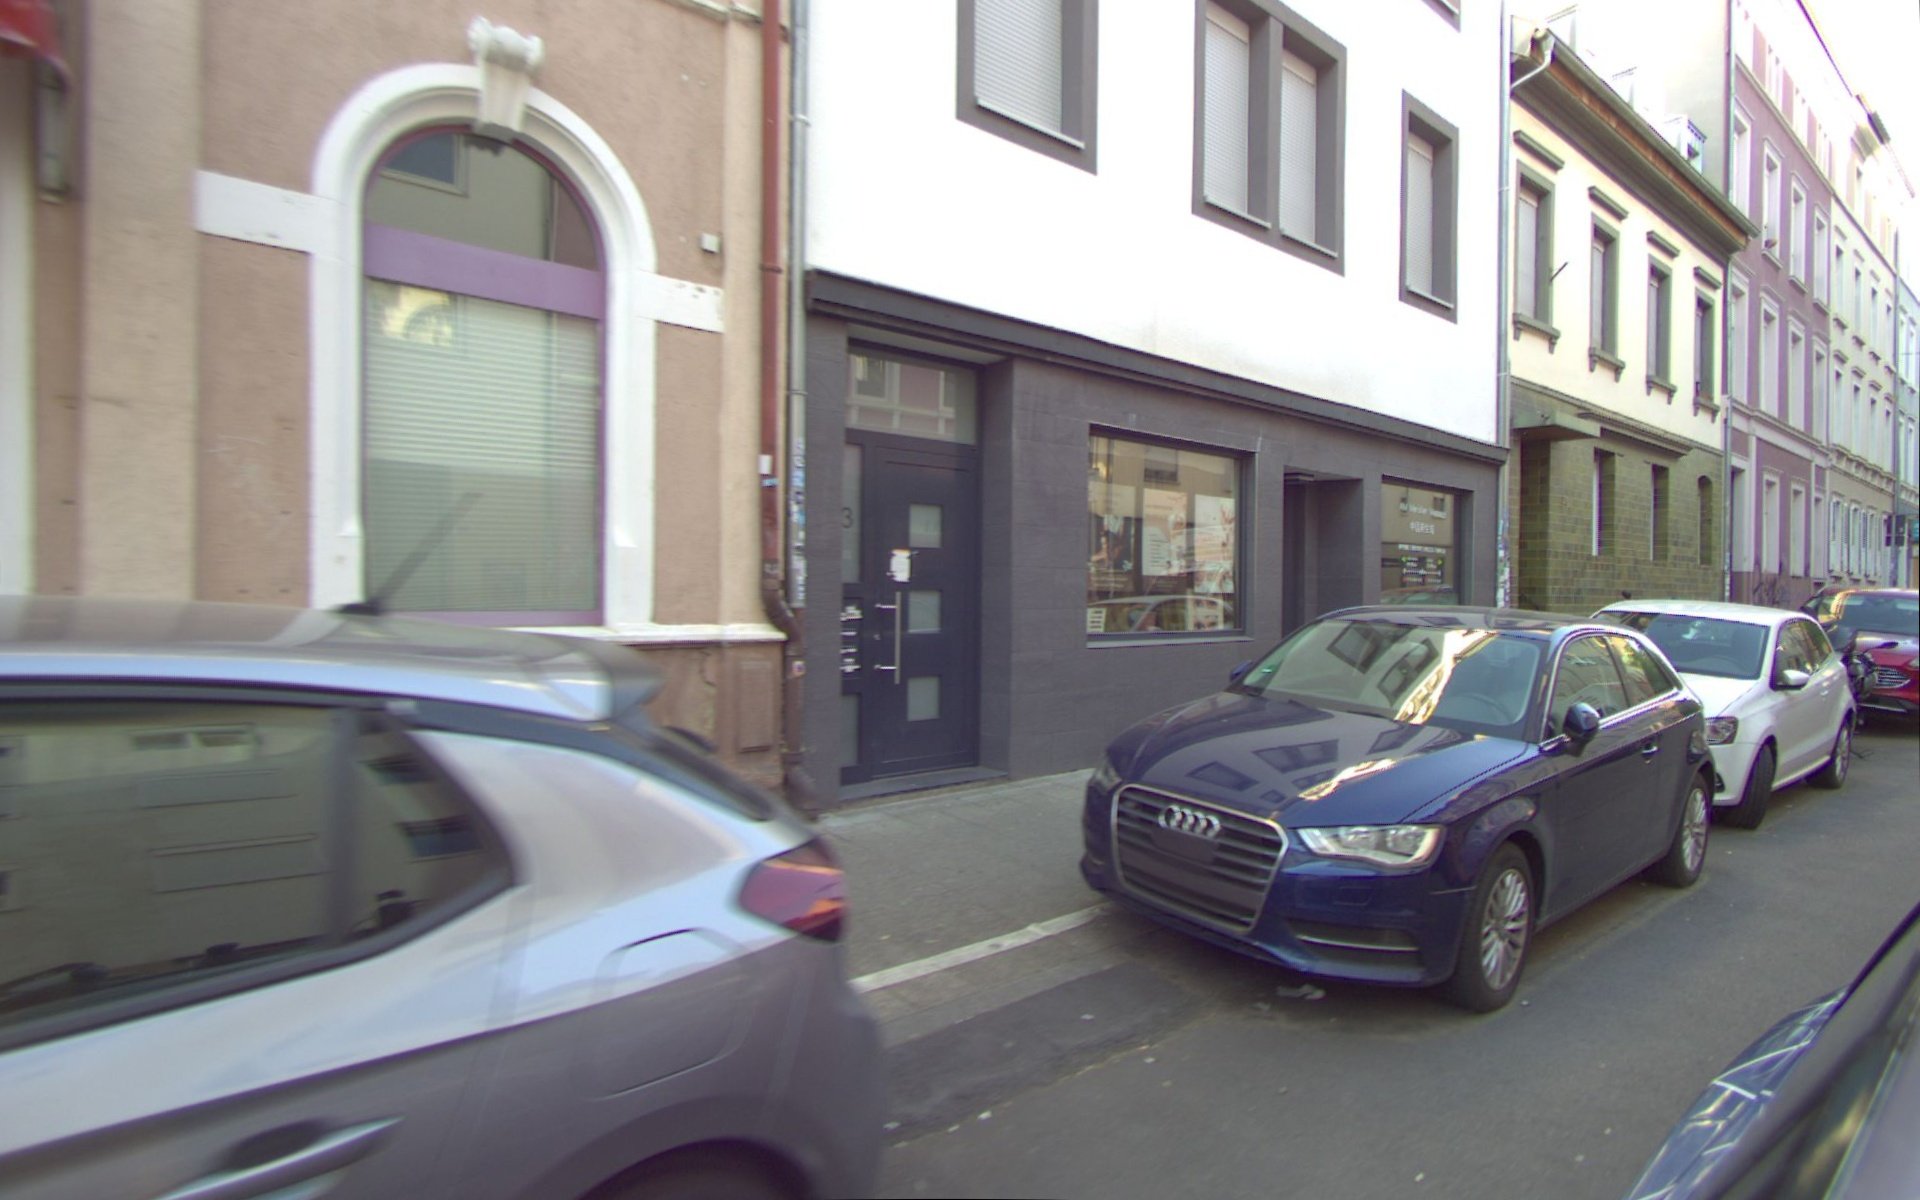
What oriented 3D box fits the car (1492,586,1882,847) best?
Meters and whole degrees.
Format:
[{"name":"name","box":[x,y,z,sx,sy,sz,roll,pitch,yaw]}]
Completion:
[{"name":"car","box":[5.800,0.676,7.925,3.706,1.522,1.619,-1,3,-41]}]

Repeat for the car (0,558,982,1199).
[{"name":"car","box":[-1.932,0.663,1.260,3.813,1.425,1.612,-1,3,-41]}]

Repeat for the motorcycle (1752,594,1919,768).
[{"name":"motorcycle","box":[8.883,0.724,10.181,2.228,1.508,0.990,-1,2,-41]}]

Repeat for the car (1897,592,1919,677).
[{"name":"car","box":[18.084,0.600,18.005,3.813,1.413,1.612,-1,3,-41]}]

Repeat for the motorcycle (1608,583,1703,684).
[{"name":"motorcycle","box":[10.347,0.458,15.029,2.002,1.414,0.666,-1,0,-41]}]

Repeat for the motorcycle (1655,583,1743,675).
[{"name":"motorcycle","box":[12.020,0.436,16.439,2.002,1.414,0.696,-1,0,-41]}]

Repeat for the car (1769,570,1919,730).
[{"name":"car","box":[11.977,0.526,12.964,4.331,1.752,1.713,-1,3,-41]}]

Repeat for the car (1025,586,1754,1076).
[{"name":"car","box":[2.292,0.666,4.927,3.813,1.413,1.735,-1,3,-41]}]
